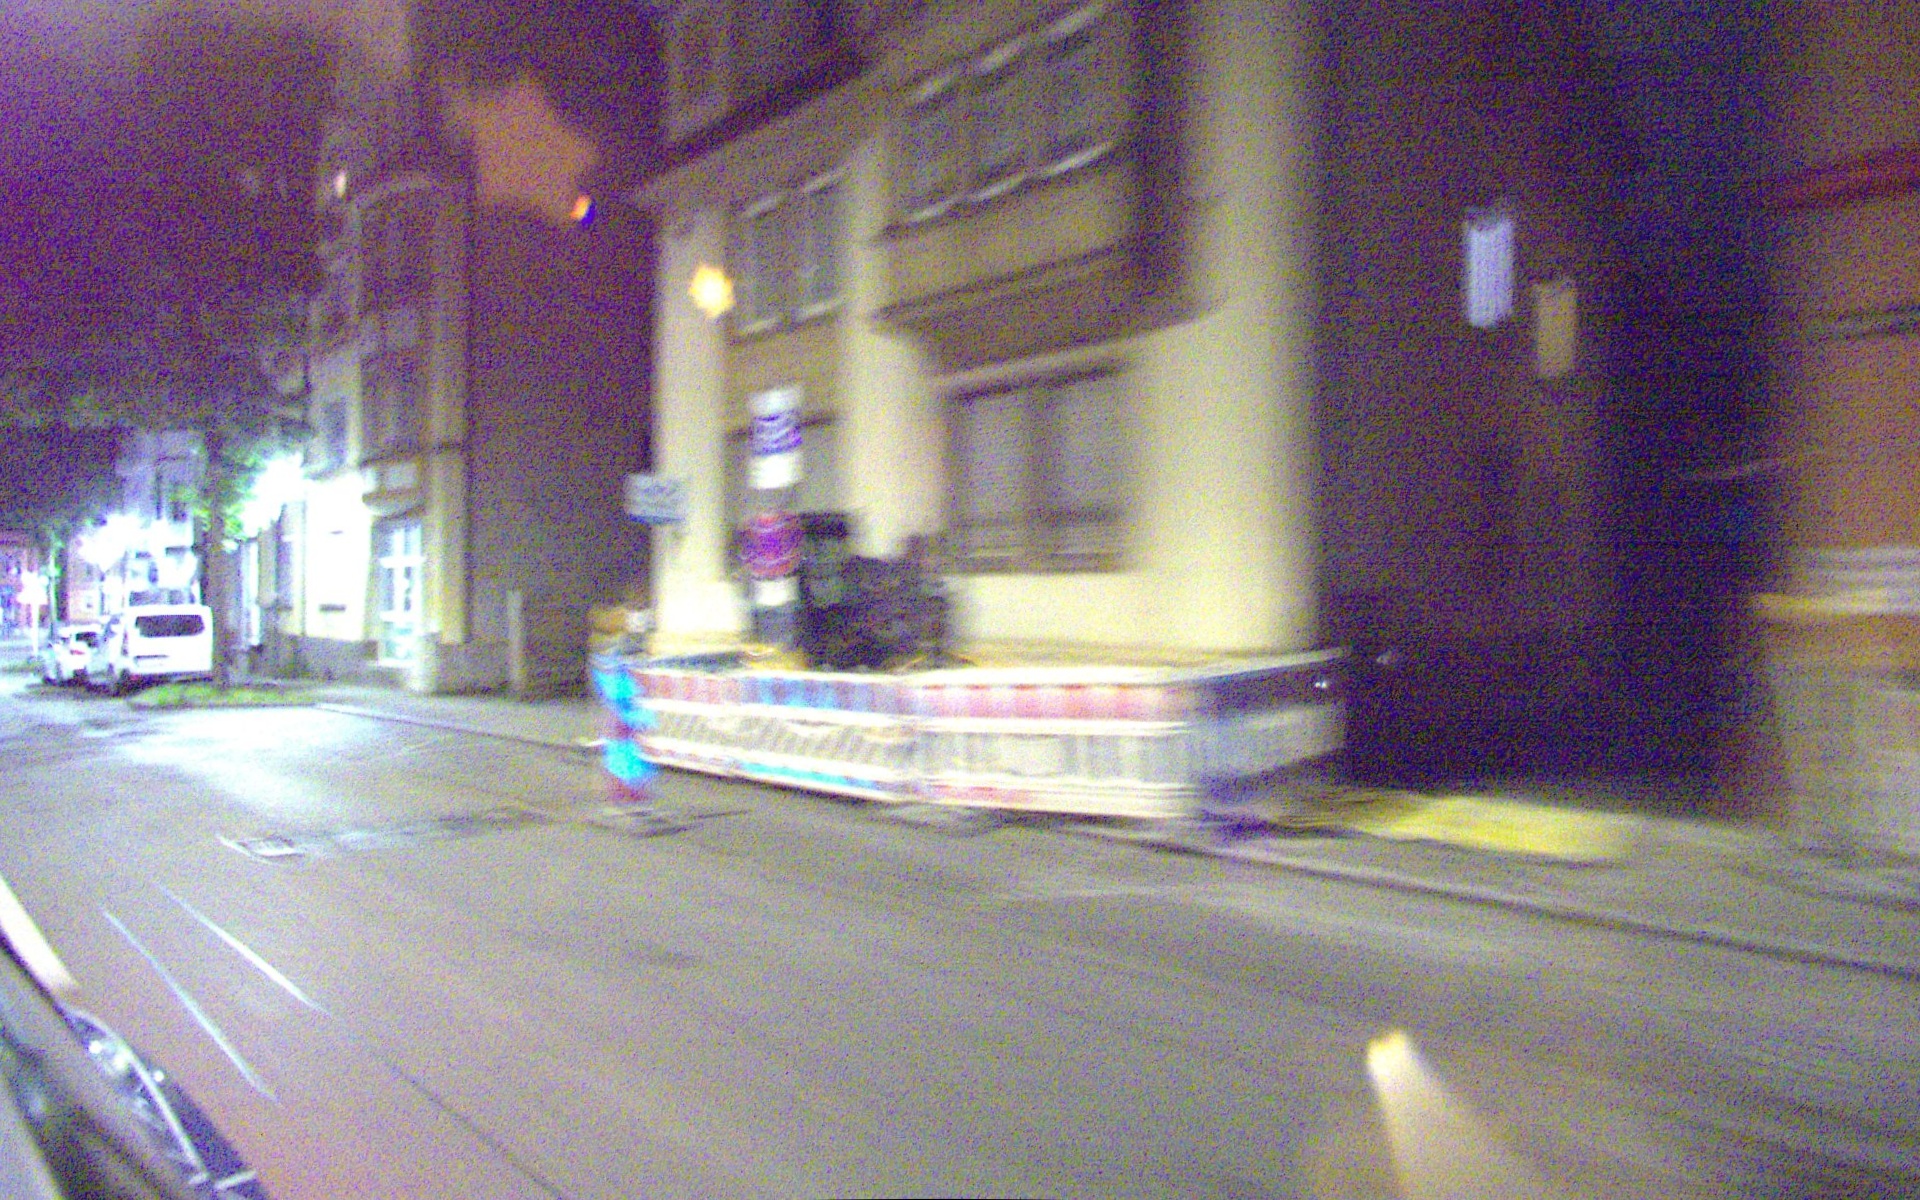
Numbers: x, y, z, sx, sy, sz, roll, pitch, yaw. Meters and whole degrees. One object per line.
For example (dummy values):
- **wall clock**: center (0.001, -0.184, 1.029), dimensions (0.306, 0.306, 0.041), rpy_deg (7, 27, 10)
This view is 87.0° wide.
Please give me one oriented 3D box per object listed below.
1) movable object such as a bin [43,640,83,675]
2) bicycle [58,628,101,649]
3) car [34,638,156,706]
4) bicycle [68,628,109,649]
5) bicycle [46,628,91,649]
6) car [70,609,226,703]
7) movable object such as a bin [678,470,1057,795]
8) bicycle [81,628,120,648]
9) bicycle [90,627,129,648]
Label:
- **movable object such as a bin**: center (-27.673, 1.772, 31.238), dimensions (0.617, 1.057, 0.689), rpy_deg (0, 0, 1)
- **bicycle**: center (-48.942, 2.118, 56.266), dimensions (1.750, 1.160, 0.615), rpy_deg (0, -1, -6)
- **car**: center (-22.188, 1.763, 25.888), dimensions (4.880, 1.461, 1.819), rpy_deg (-1, 0, 43)
- **bicycle**: center (-49.055, 2.137, 56.978), dimensions (1.750, 1.160, 0.583), rpy_deg (0, -1, -6)
- **bicycle**: center (-48.842, 2.097, 55.451), dimensions (1.760, 1.160, 0.761), rpy_deg (0, -1, -6)
- **car**: center (-18.050, 1.165, 22.420), dimensions (4.812, 1.857, 1.863), rpy_deg (-1, -1, 41)
- **movable object such as a bin**: center (-1.062, 0.315, 10.139), dimensions (3.909, 2.647, 1.554), rpy_deg (-2, -3, 42)
- **bicycle**: center (-49.045, 2.155, 57.744), dimensions (1.753, 1.160, 0.582), rpy_deg (0, -1, 0)
- **bicycle**: center (-49.062, 2.154, 58.388), dimensions (1.752, 1.160, 0.582), rpy_deg (0, -1, 0)
